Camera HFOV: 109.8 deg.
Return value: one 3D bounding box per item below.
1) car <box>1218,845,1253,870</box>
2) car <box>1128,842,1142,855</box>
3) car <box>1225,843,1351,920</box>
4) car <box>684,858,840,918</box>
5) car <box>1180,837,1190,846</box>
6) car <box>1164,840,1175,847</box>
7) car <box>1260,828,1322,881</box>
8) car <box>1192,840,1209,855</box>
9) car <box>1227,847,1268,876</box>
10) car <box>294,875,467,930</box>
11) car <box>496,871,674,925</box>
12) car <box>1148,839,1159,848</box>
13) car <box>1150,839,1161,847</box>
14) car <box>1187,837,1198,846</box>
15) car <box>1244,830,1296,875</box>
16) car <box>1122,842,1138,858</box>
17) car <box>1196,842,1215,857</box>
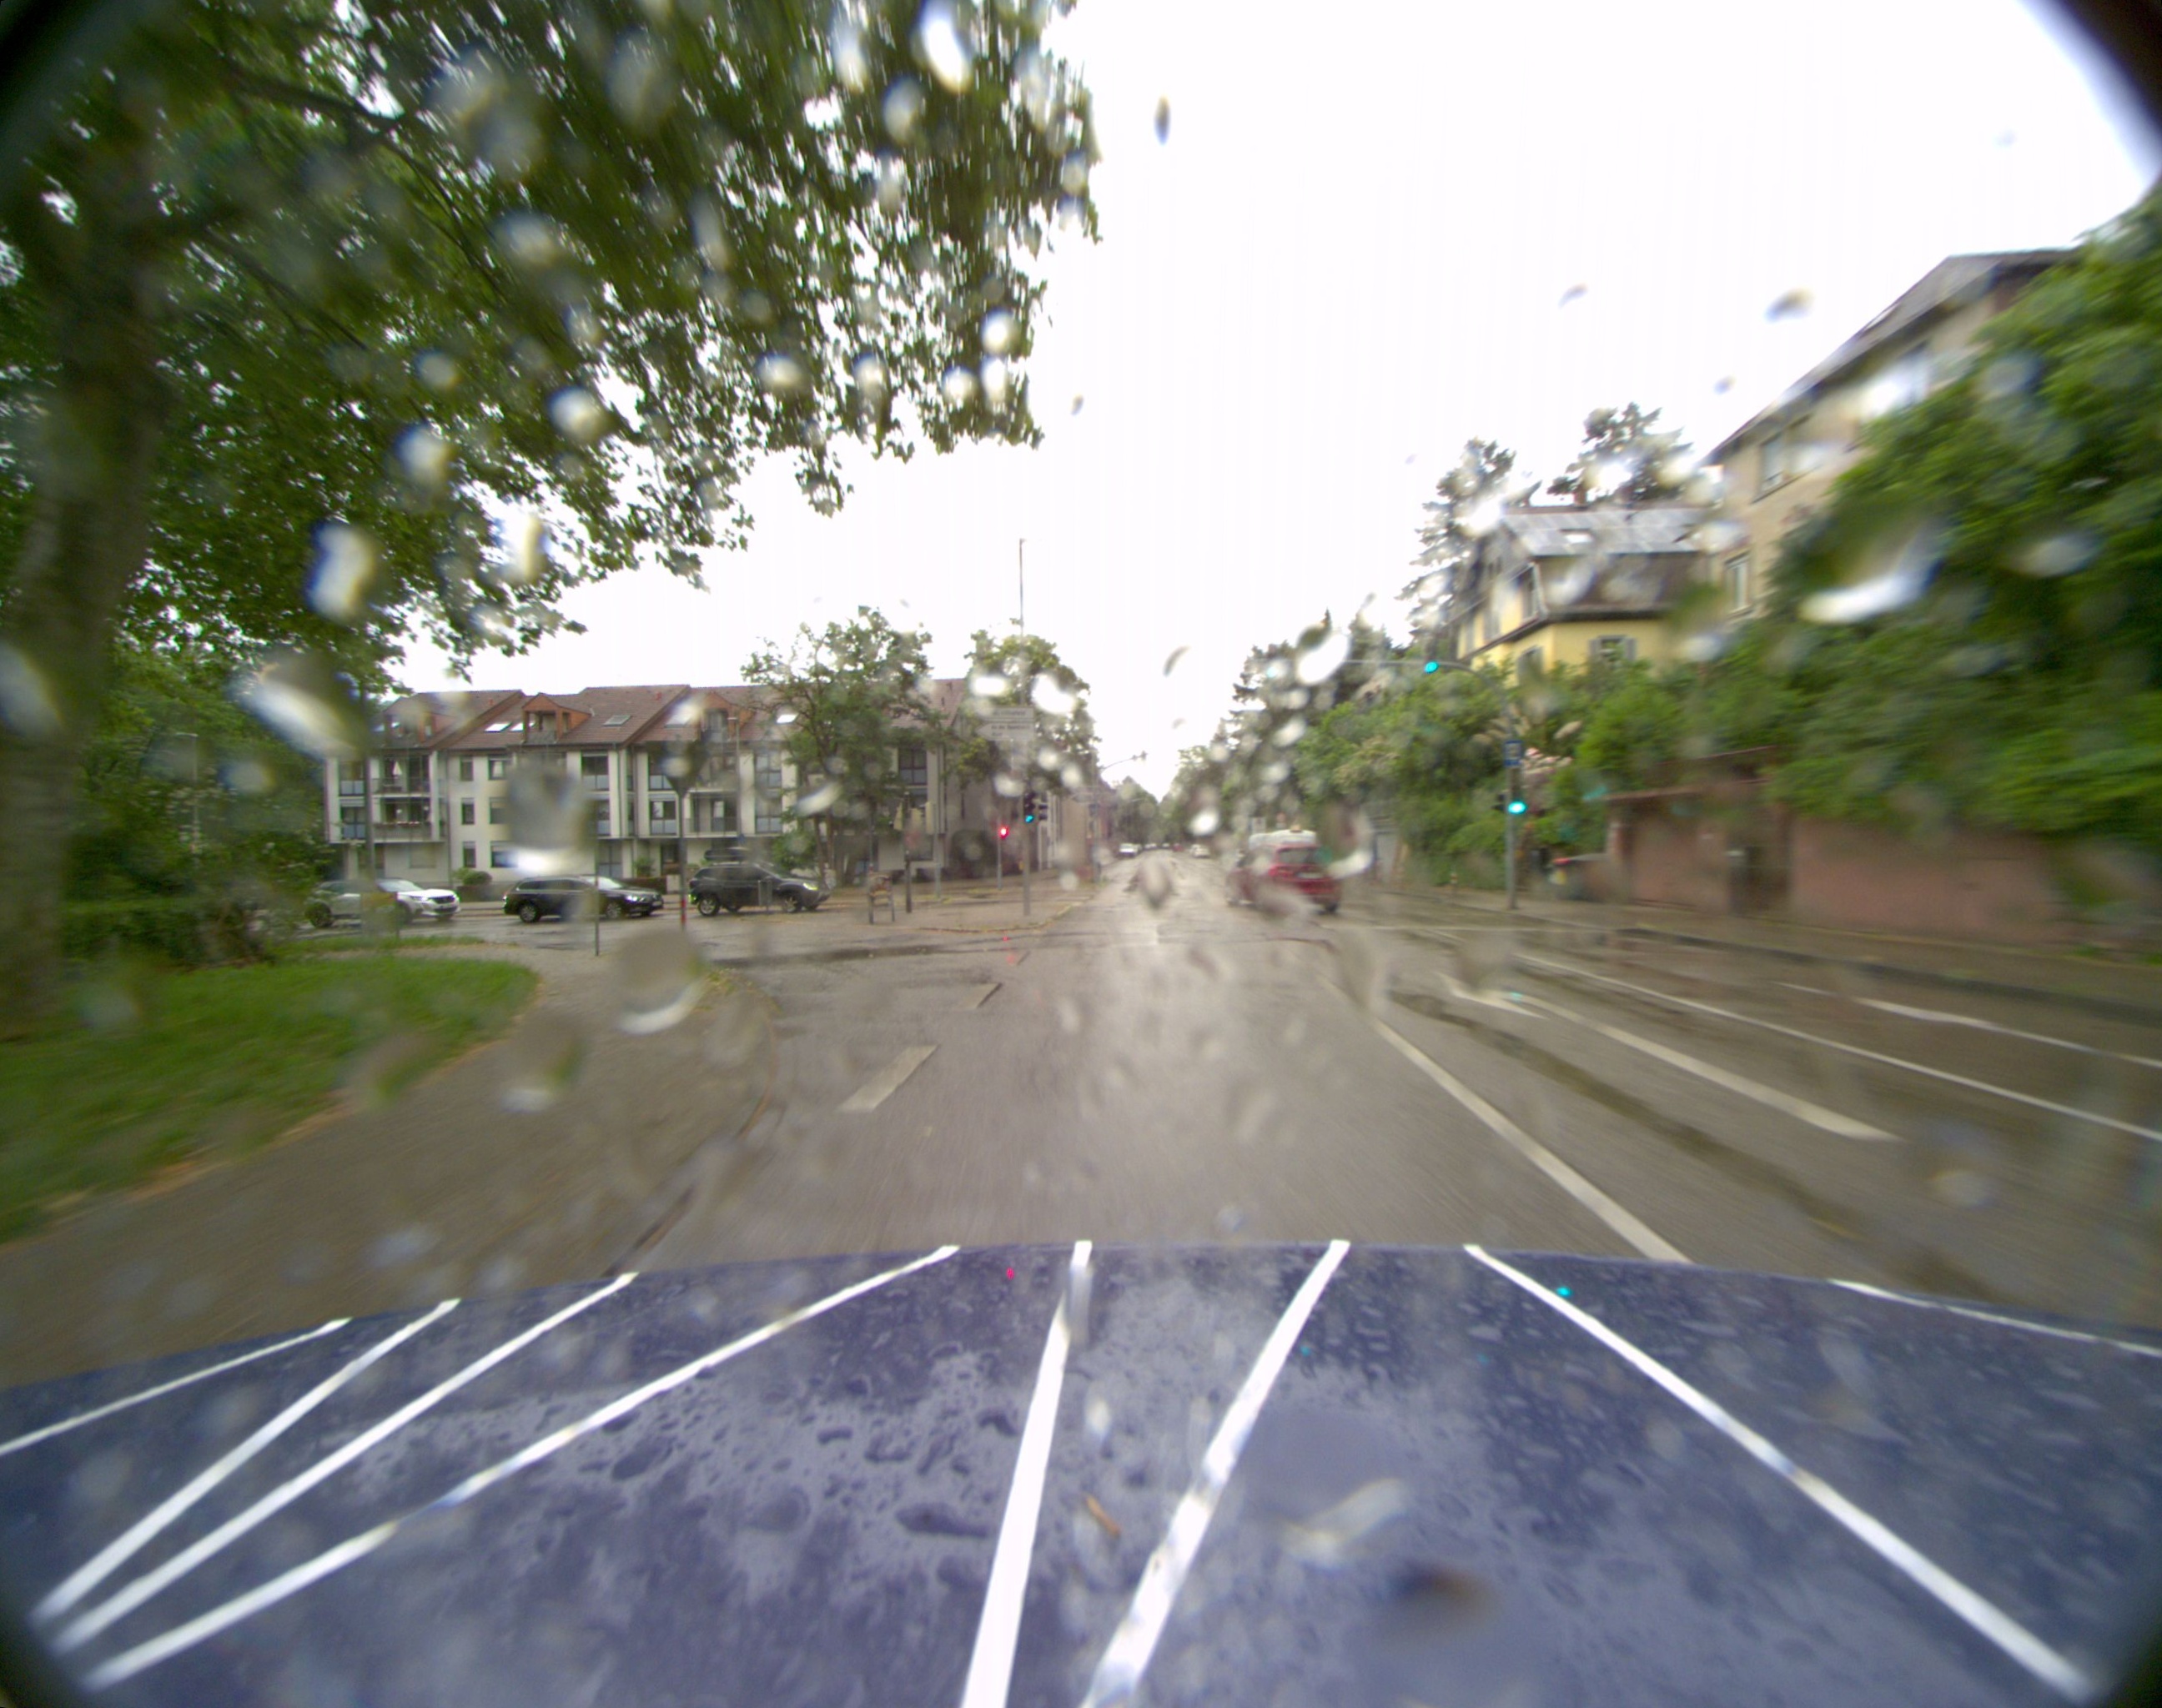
[{"bbox_3d":[12.700,0.245,62.911,2.161,1.815,4.917,2,1,4],"label":"car"},{"bbox_3d":[8.326,-0.930,116.529,1.924,1.889,4.001,-2,1,5],"label":"car"},{"bbox_3d":[4.851,0.563,18.382,1.793,1.601,4.091,-1,1,-2],"label":"car"},{"bbox_3d":[-10.231,1.061,24.590,4.225,1.678,1.709,-2,2,0],"label":"car"},{"bbox_3d":[21.756,-2.602,159.083,1.923,1.889,4.002,-2,1,11],"label":"car"},{"bbox_3d":[22.330,-2.661,191.943,1.922,1.889,4.004,-1,1,18],"label":"car"},{"bbox_3d":[10.641,-0.032,38.896,2.084,2.464,4.854,2,1,4],"label":"car"},{"bbox_3d":[15.653,-0.919,99.942,1.924,1.889,4.001,-2,1,5],"label":"car"},{"bbox_3d":[12.220,0.483,56.105,2.161,1.945,4.917,2,1,4],"label":"car"},{"bbox_3d":[-23.293,1.591,25.366,4.169,1.537,1.666,-2,2,1],"label":"car"},{"bbox_3d":[-16.030,1.406,24.696,4.621,1.438,1.610,-2,3,0],"label":"car"},{"bbox_3d":[15.816,-2.336,165.145,1.923,1.889,4.003,-2,1,11],"label":"car"},{"bbox_3d":[17.236,-2.588,175.130,1.923,1.889,4.003,-2,1,13],"label":"car"},{"bbox_3d":[24.684,-2.729,168.179,1.923,1.889,4.004,-2,1,15],"label":"car"},{"bbox_3d":[11.181,-0.142,45.330,2.161,2.454,4.917,2,1,4],"label":"car"},{"bbox_3d":[6.200,-0.498,95.982,1.924,1.889,4.001,-2,1,5],"label":"car"},{"bbox_3d":[14.706,-0.550,89.665,1.924,1.747,4.001,-2,1,5],"label":"car"}]
